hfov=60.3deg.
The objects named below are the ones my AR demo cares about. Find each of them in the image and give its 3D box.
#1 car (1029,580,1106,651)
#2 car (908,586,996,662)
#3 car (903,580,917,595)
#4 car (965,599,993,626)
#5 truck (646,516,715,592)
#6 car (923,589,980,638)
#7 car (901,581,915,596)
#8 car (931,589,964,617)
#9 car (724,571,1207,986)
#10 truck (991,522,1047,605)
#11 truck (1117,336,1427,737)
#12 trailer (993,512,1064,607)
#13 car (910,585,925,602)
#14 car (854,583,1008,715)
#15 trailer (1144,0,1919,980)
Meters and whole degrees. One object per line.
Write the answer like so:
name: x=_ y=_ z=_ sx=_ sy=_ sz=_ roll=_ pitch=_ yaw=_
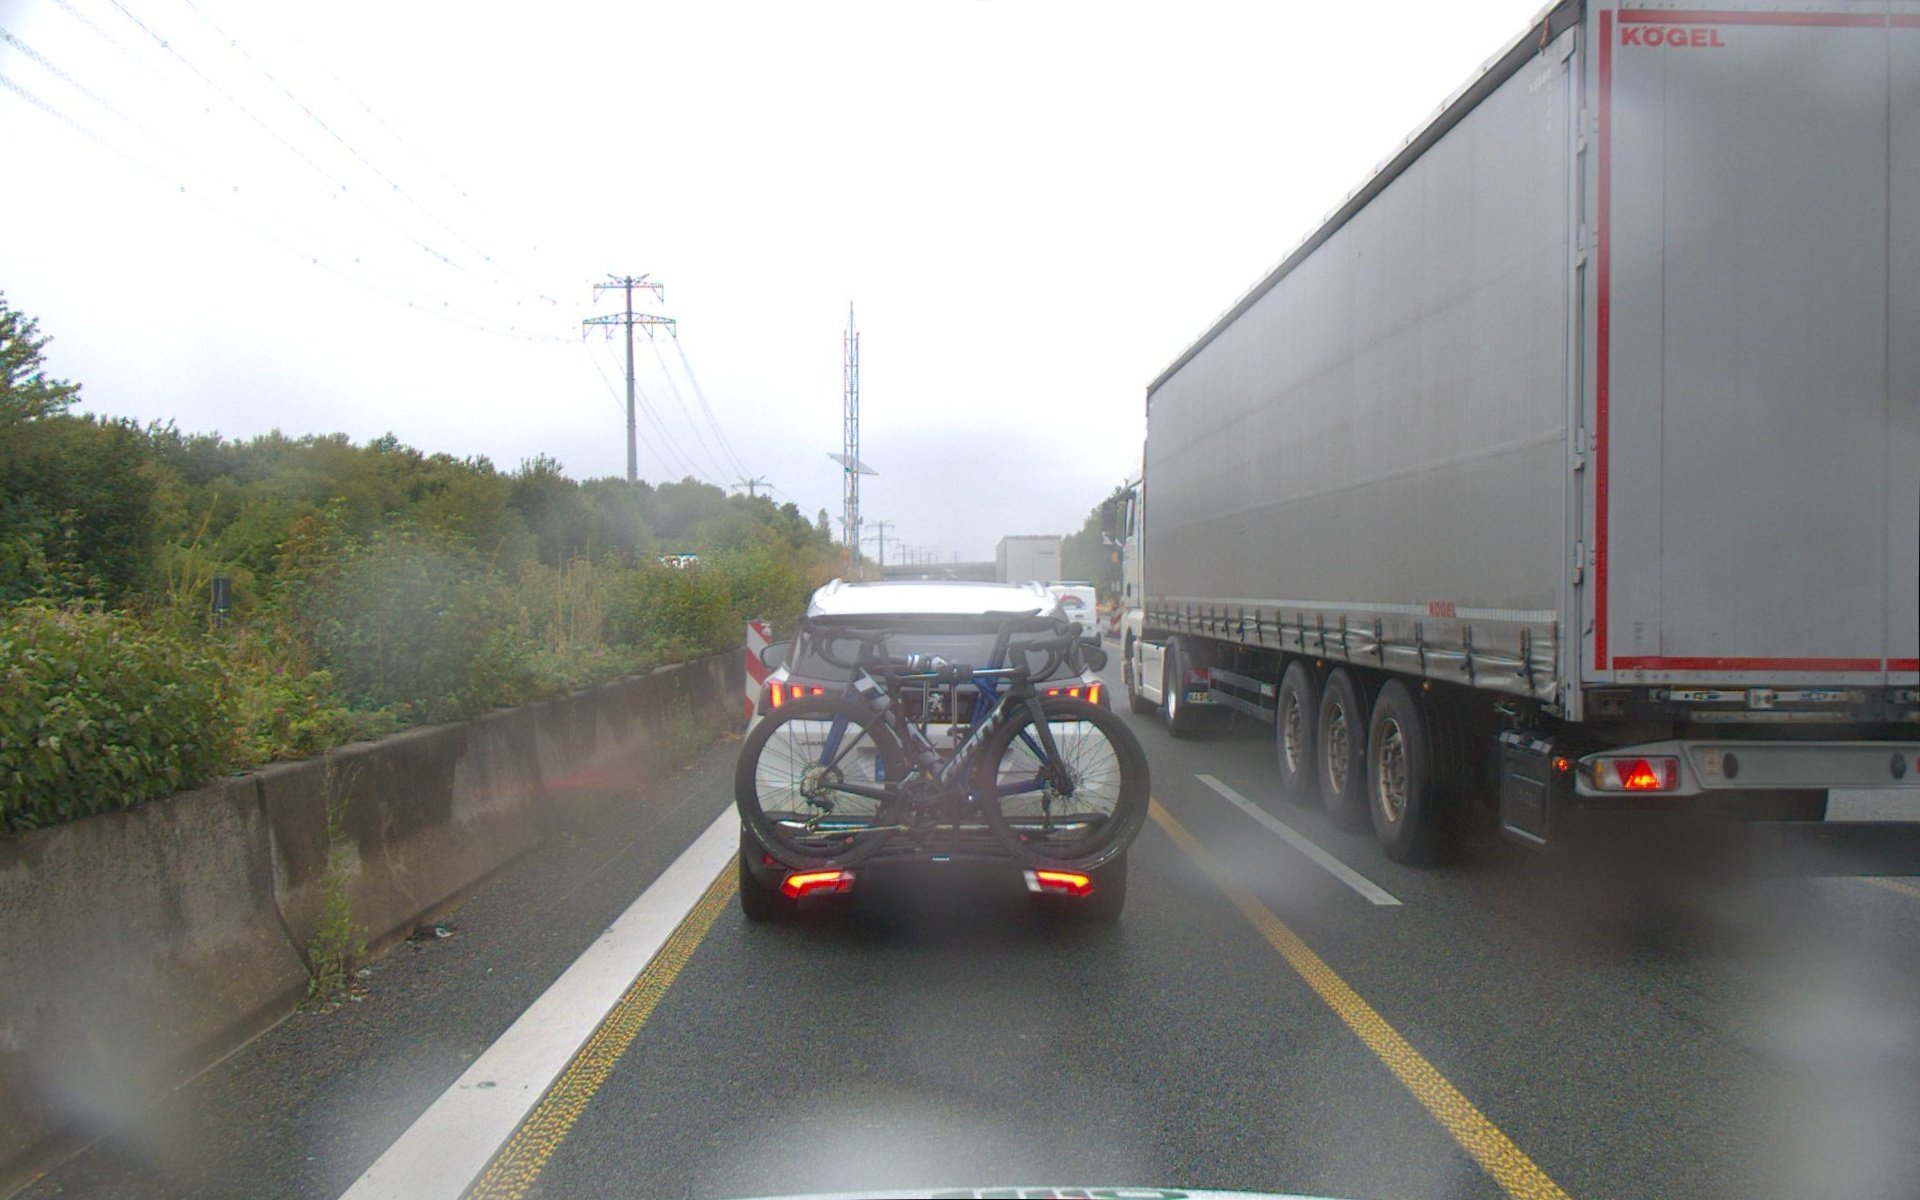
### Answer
car: x=2.966 y=0.400 z=46.504 sx=1.792 sy=1.871 sz=4.654 roll=0 pitch=0 yaw=-1
car: x=-0.194 y=0.495 z=36.262 sx=1.812 sy=1.557 sz=3.999 roll=0 pitch=0 yaw=-1
car: x=-7.254 y=-1.820 z=240.272 sx=1.892 sy=2.008 sz=4.000 roll=0 pitch=1 yaw=-1
car: x=1.496 y=0.949 z=129.230 sx=2.067 sy=2.008 sz=4.000 roll=0 pitch=1 yaw=-1
truck: x=-16.118 y=-2.602 z=95.733 sx=2.730 sy=4.093 sz=7.231 roll=-3 pitch=0 yaw=-1
car: x=-0.299 y=0.425 z=54.792 sx=1.812 sy=1.557 sz=3.999 roll=0 pitch=0 yaw=-1
car: x=-7.155 y=-1.594 z=227.463 sx=1.892 sy=1.944 sz=4.000 roll=0 pitch=1 yaw=-1
car: x=-0.698 y=0.160 z=93.611 sx=1.812 sy=1.557 sz=3.999 roll=0 pitch=0 yaw=-1
car: x=-0.009 y=0.664 z=8.613 sx=1.812 sy=1.557 sz=4.768 roll=0 pitch=0 yaw=-1
truck: x=3.012 y=-1.841 z=85.964 sx=2.606 sy=4.148 sz=6.538 roll=0 pitch=0 yaw=-1
truck: x=3.559 y=-0.675 z=20.255 sx=2.651 sy=4.211 sz=5.689 roll=0 pitch=0 yaw=-1
trailer: x=3.124 y=-1.802 z=79.260 sx=2.638 sy=4.148 sz=13.631 roll=0 pitch=0 yaw=-1
car: x=-5.356 y=-0.866 z=209.805 sx=1.892 sy=2.008 sz=4.000 roll=0 pitch=1 yaw=-1
car: x=-0.368 y=0.570 z=21.554 sx=1.812 sy=1.557 sz=3.999 roll=0 pitch=0 yaw=-1
trailer: x=3.670 y=-0.649 z=13.352 sx=2.651 sy=4.218 sz=13.729 roll=0 pitch=0 yaw=-1
